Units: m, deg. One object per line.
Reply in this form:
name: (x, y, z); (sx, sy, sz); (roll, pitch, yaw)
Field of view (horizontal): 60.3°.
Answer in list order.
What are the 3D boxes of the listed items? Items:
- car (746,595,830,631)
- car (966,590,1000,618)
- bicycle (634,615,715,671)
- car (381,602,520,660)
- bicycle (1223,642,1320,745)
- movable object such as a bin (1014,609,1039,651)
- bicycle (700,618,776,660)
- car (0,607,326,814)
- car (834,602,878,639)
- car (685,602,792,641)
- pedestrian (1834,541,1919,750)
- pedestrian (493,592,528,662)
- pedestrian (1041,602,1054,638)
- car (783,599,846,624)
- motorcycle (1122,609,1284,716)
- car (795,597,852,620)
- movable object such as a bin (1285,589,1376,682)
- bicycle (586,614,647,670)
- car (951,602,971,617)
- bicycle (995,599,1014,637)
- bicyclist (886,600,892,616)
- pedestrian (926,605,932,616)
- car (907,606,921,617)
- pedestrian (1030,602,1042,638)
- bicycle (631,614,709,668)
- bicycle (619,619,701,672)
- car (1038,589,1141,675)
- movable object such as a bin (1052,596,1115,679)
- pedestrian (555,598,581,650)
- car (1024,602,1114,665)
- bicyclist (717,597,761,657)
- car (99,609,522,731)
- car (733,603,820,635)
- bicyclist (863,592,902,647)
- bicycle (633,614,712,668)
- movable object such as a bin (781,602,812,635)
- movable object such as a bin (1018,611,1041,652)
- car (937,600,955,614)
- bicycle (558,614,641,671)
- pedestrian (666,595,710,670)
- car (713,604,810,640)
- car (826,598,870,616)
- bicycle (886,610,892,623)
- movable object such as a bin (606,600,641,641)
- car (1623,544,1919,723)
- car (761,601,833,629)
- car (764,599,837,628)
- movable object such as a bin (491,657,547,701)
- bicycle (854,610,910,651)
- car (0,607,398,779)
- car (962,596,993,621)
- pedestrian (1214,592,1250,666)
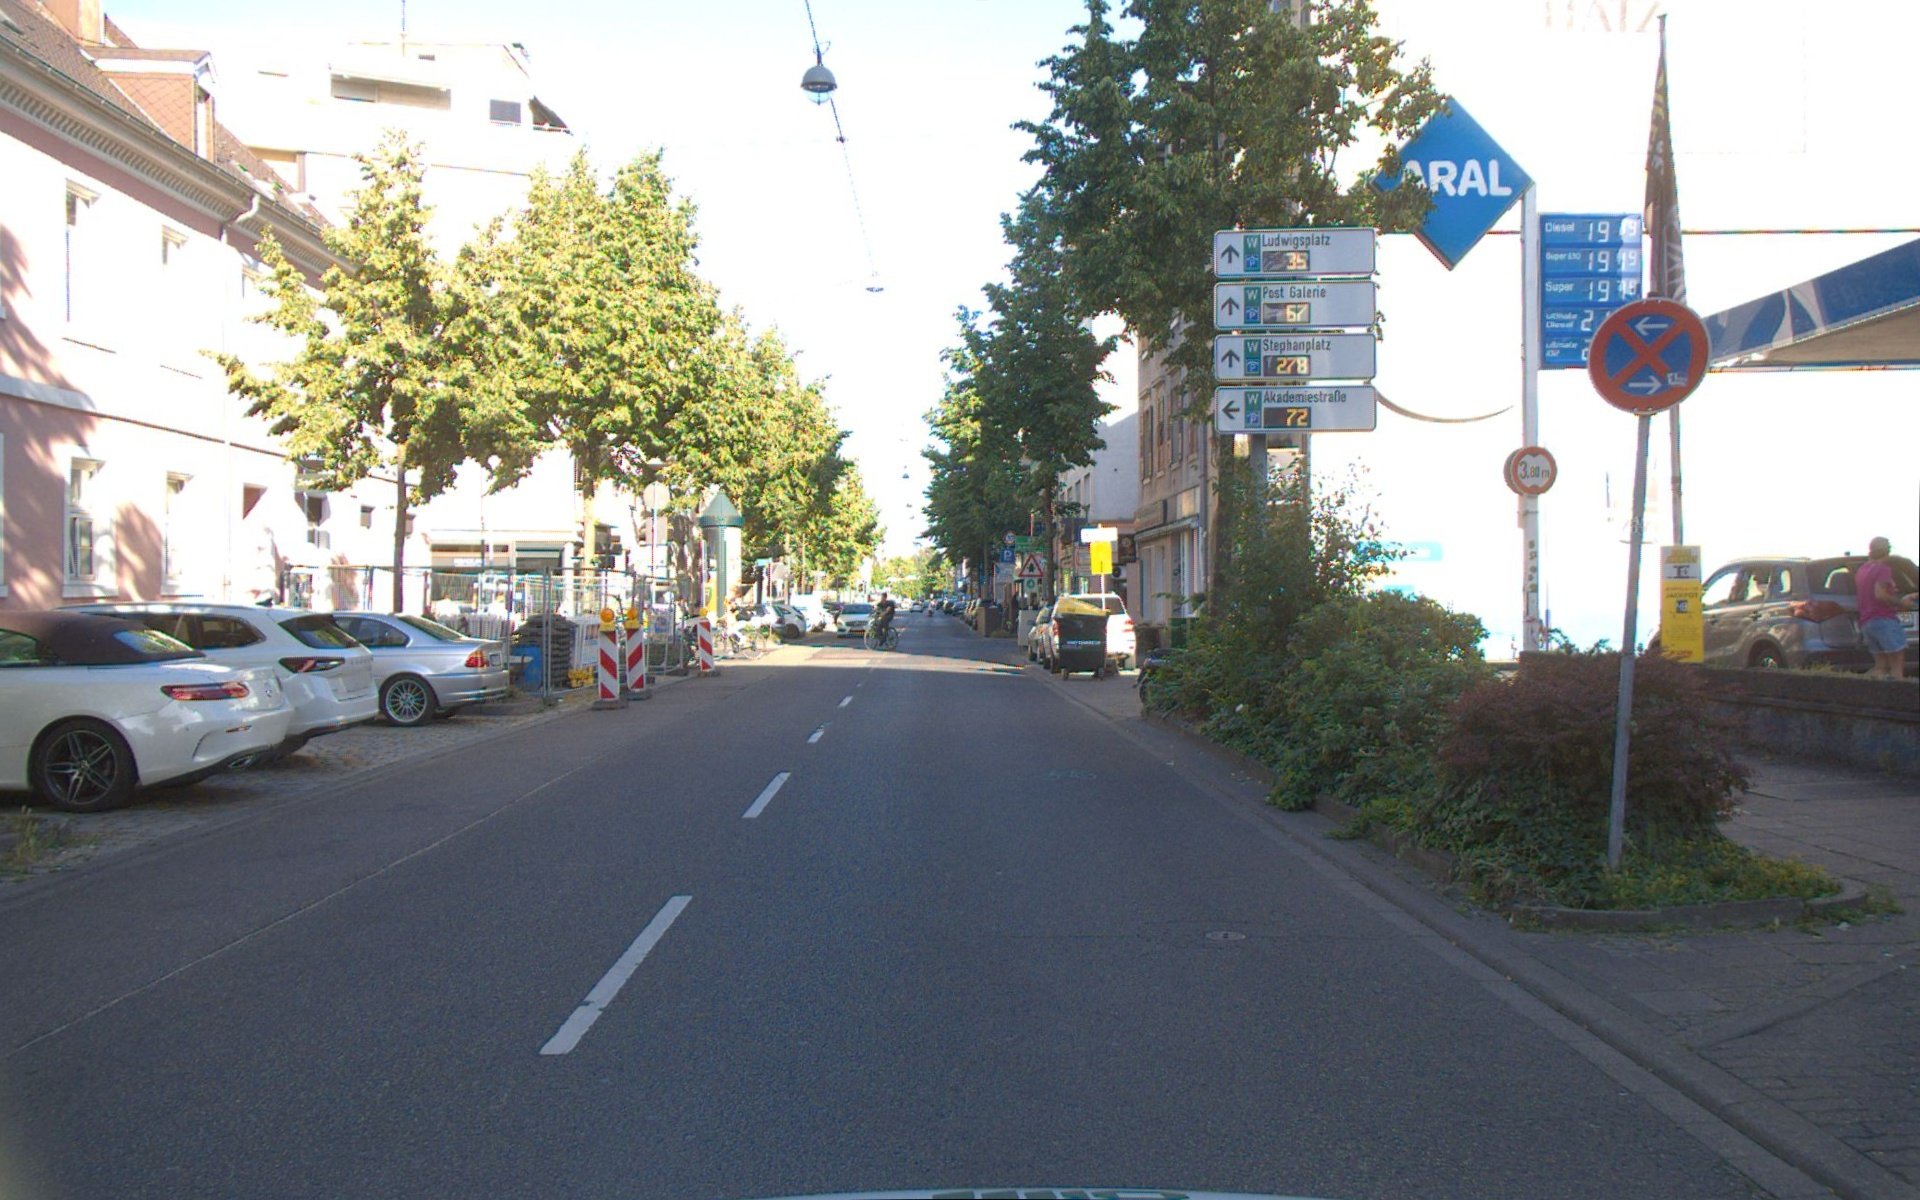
car: (-8.624, 0.639, 83.201); (3.903, 1.724, 2.001); (-1, 0, 3)
car: (1.406, 0.212, 101.707); (1.953, 1.637, 3.999); (-1, 0, -1)
bicycle: (-6.615, 1.005, 38.394); (1.820, 1.274, 0.599); (0, 0, -9)
car: (-15.807, 0.939, 51.278); (3.932, 1.639, 1.986); (-1, 0, -23)
bicycle: (3.392, 0.988, 17.922); (0.427, 1.006, 1.667); (-2, 0, 33)
movable object such as a bin: (2.033, 0.906, 50.467); (0.691, 1.244, 0.680); (-1, 0, -4)
bicycle: (-5.999, 1.058, 44.731); (1.922, 1.077, 0.764); (-1, 0, -23)
car: (-7.537, 0.801, 12.774); (4.588, 1.491, 1.806); (0, 0, -4)
car: (-4.512, 0.873, 72.198); (1.766, 1.460, 4.407); (-3, 0, -2)
car: (-8.608, 0.821, 64.499); (3.907, 1.414, 1.999); (-1, 0, -2)
pedestrian: (8.710, 0.406, 15.396); (0.675, 1.882, 0.706); (-1, 0, -17)
pedestrian: (-10.990, 0.649, 40.441); (0.598, 1.682, 0.813); (-1, 0, 2)
pedestrian: (4.127, 0.935, 77.960); (0.536, 1.678, 0.664); (-1, 0, -2)
car: (-9.305, 0.730, 105.953); (3.907, 1.526, 1.999); (-1, 0, -2)
motorcycle: (3.252, 0.814, 22.205); (1.943, 1.353, 0.908); (-1, 0, -14)
car: (-9.621, 0.599, 116.717); (3.907, 1.526, 1.999); (-1, 0, -2)
movable object such as a bin: (6.412, 0.603, 28.683); (1.245, 1.557, 1.176); (-1, 0, -3)
bicycle: (-8.168, 0.982, 39.280); (0.595, 1.274, 1.765); (1, 0, -44)
car: (0.054, 1.004, 169.676); (1.953, 1.534, 3.998); (0, -1, -2)
bicycle: (1.860, 0.742, 68.674); (0.549, 1.465, 1.628); (-6, 0, -1)
bicyclist: (-6.777, 0.755, 157.439); (0.549, 1.575, 0.728); (0, -1, -1)
pedestrian: (-3.081, 1.038, 164.667); (0.534, 1.044, 0.546); (-1, 0, -3)
car: (-6.188, 1.537, 222.193); (1.756, 1.436, 3.999); (-1, 0, -1)
pedestrian: (3.565, 0.918, 77.604); (0.535, 1.678, 0.664); (-1, 0, -1)
bicycle: (-7.005, 0.994, 40.039); (1.820, 1.274, 0.599); (0, 0, -9)
bicycle: (-6.827, 1.038, 37.716); (1.820, 1.191, 0.599); (0, 0, -9)
car: (2.821, 0.671, 36.848); (1.785, 1.708, 4.600); (-3, 0, -1)
movable object such as a bin: (2.443, 0.721, 32.552); (1.118, 1.589, 1.460); (-1, 0, 7)
pedestrian: (-12.887, 0.774, 54.374); (0.757, 1.671, 0.688); (-1, 0, -11)
car: (2.729, 0.815, 42.166); (1.786, 1.415, 4.299); (-3, 0, -2)
bicyclist: (-5.984, 0.727, 44.730); (1.023, 1.587, 0.764); (-1, 0, -22)
car: (-7.998, 0.833, 20.730); (4.588, 1.437, 1.806); (0, 0, -4)
car: (-8.911, 0.925, 80.393); (3.903, 1.482, 1.869); (-1, 0, 3)
bicyclist: (-2.471, 0.615, 52.683); (0.706, 1.722, 1.154); (-1, 0, 33)
bicycle: (-6.843, 0.981, 39.403); (1.820, 1.274, 0.599); (0, 0, -9)
movable object such as a bin: (-7.623, 0.862, 76.988); (1.307, 1.504, 1.479); (-1, 0, -2)
movable object such as a bin: (2.073, 0.931, 49.629); (0.609, 1.200, 0.711); (-1, 0, -4)
car: (-1.617, 0.837, 189.211); (1.953, 1.534, 3.998); (0, -1, -2)
bicycle: (-8.321, 0.970, 38.175); (1.749, 1.274, 0.601); (0, 0, 10)
pedestrian: (-6.419, 0.761, 39.076); (0.785, 1.737, 0.758); (0, 0, -34)
car: (-8.400, 0.923, 70.292); (3.907, 1.414, 1.999); (-1, 0, -2)
car: (-10.241, 0.655, 150.871); (3.907, 1.526, 1.999); (-1, 0, -2)
bicycle: (-6.766, 1.548, 157.412); (0.549, 1.200, 1.628); (0, -1, -1)
movable object such as a bin: (-12.598, 0.768, 61.971); (1.117, 1.511, 1.235); (-1, 0, -3)
car: (8.974, 0.307, 17.883); (1.862, 1.677, 4.293); (-1, 0, 0)
car: (-9.293, 0.844, 94.506); (3.907, 1.526, 1.999); (-1, -1, -2)
car: (-8.849, 0.743, 92.012); (3.907, 1.526, 1.999); (-1, 0, -2)
movable object such as a bin: (-6.998, 1.253, 26.299); (0.615, 0.627, 1.077); (-1, 0, -2)
bicycle: (-2.473, 0.957, 52.679); (0.706, 1.241, 2.030); (-1, 0, 32)
car: (-7.801, 0.817, 15.329); (4.588, 1.491, 1.806); (0, 0, -4)
car: (1.179, 0.556, 114.340); (1.953, 1.637, 3.999); (-1, 0, -1)
pedestrian: (5.862, 0.617, 35.675); (0.598, 1.567, 0.699); (-1, 0, -2)
